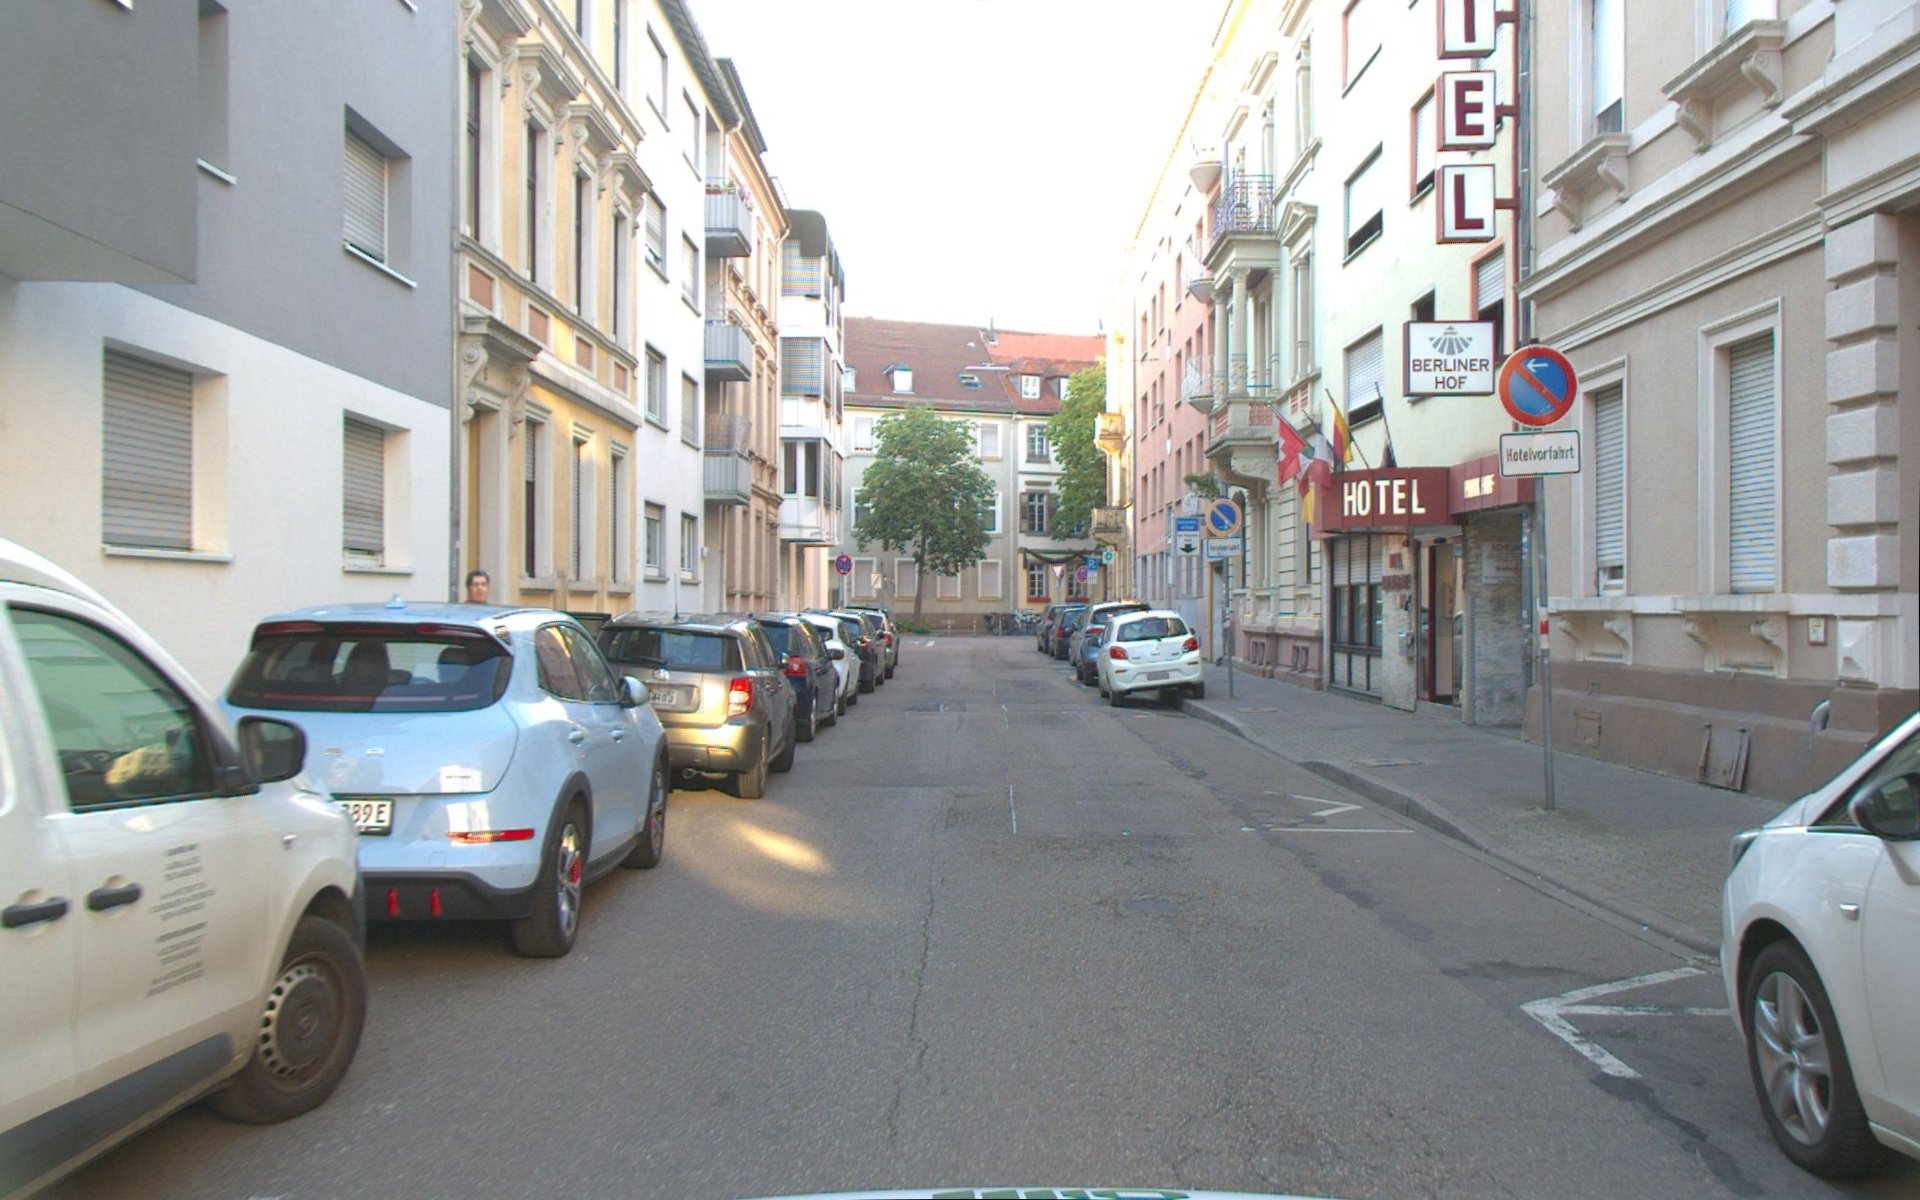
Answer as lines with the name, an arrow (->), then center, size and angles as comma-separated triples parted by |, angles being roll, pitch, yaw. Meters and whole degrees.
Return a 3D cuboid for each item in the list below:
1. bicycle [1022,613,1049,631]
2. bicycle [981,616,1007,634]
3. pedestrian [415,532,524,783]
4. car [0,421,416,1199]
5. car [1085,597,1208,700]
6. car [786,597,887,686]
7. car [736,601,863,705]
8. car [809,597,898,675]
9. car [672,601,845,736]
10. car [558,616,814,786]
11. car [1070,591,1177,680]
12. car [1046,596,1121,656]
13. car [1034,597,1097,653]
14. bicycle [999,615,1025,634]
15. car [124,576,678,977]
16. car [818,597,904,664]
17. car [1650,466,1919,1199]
bicycle -> 3.956, 1.156, 86.907 | 0.513, 0.965, 1.706 | 0, 0, -32
bicycle -> 1.806, 1.319, 87.764 | 0.513, 0.965, 1.706 | 0, -1, -32
pedestrian -> -4.110, 0.468, 13.918 | 0.783, 2.049, 0.774 | 0, 0, -10
car -> -2.688, 0.569, 3.659 | 1.597, 1.845, 4.185 | 0, 0, 0
car -> 3.164, 0.786, 28.697 | 1.629, 1.483, 3.759 | -6, 0, 1
car -> -2.338, 0.756, 32.211 | 1.581, 1.598, 4.304 | 0, 0, 1
car -> -2.461, 0.781, 26.163 | 1.596, 1.498, 3.754 | 0, 0, 1
car -> -2.419, 0.788, 38.296 | 1.954, 1.695, 4.407 | 0, 0, -3
car -> -2.475, 0.795, 21.137 | 1.692, 1.535, 3.831 | 0, 0, 1
car -> -2.376, 0.839, 15.299 | 1.649, 1.355, 4.131 | 0, -1, 0
car -> 3.415, 0.715, 35.164 | 1.952, 1.762, 4.060 | 0, 0, 1
car -> 3.733, 0.776, 50.739 | 1.953, 1.738, 3.999 | -1, 0, -1
car -> 3.531, 0.822, 56.027 | 1.952, 1.792, 4.001 | -1, 0, 1
bicycle -> 2.706, 1.279, 86.315 | 0.513, 0.910, 1.706 | -1, 2, -32
car -> -2.618, 0.675, 8.865 | 1.728, 1.591, 4.363 | 0, 1, -4
car -> -2.604, 0.793, 44.524 | 1.952, 1.692, 3.978 | -1, 0, 1
car -> 3.152, 0.562, 3.246 | 1.779, 1.754, 4.462 | 0, 0, 1
